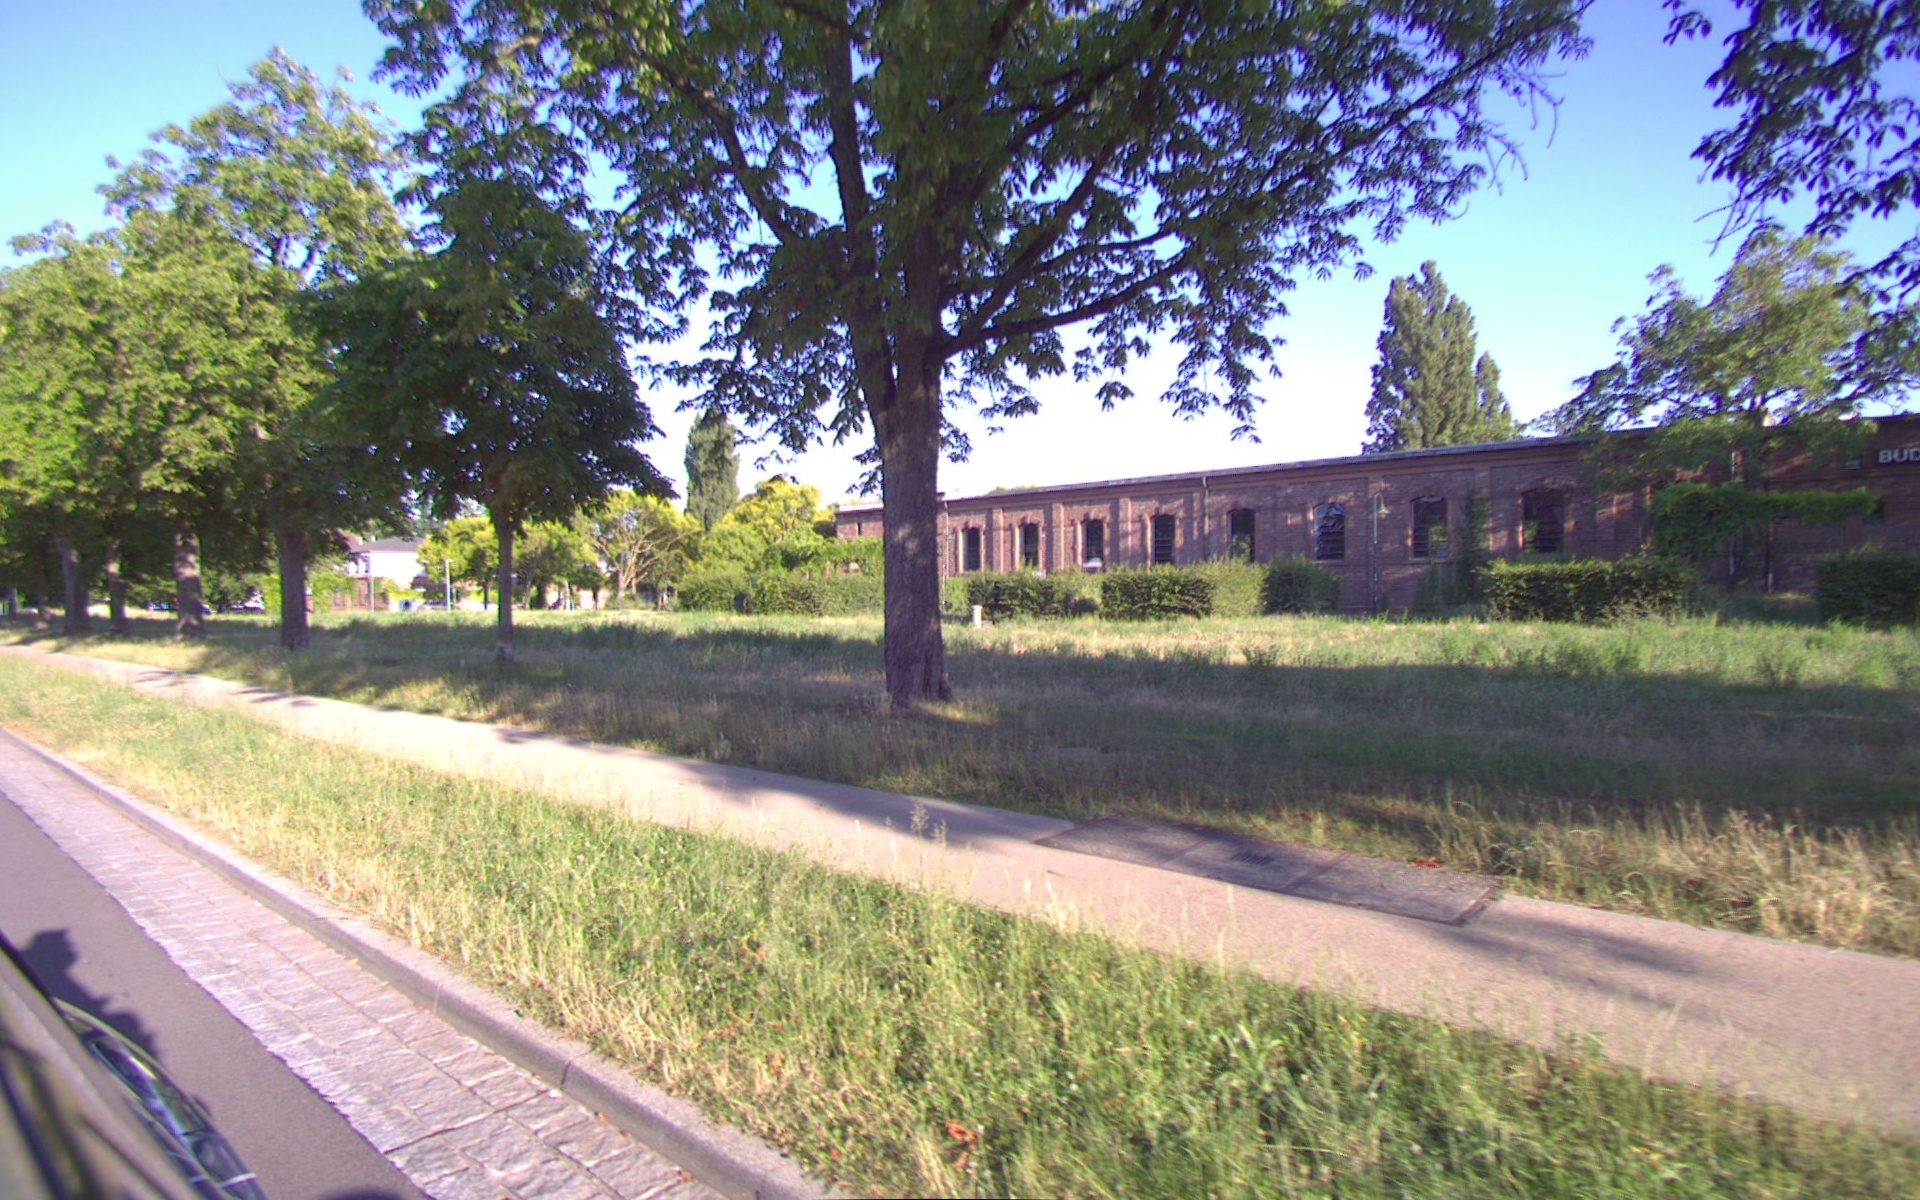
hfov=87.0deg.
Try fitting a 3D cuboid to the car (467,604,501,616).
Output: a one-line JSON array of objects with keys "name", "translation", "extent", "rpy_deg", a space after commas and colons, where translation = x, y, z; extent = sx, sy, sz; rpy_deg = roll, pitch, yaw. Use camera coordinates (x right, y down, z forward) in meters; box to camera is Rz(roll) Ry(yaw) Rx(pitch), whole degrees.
[{"name": "car", "translation": [-59.450, 1.263, 126.428], "extent": [1.586, 1.289, 3.589], "rpy_deg": [0, 1, 42]}]

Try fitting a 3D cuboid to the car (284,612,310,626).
[{"name": "car", "translation": [-84.392, 2.445, 128.741], "extent": [3.998, 1.641, 1.744], "rpy_deg": [-1, 1, 41]}]

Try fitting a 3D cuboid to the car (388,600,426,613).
[{"name": "car", "translation": [-64.699, 0.750, 118.412], "extent": [1.586, 1.289, 3.589], "rpy_deg": [0, 1, 42]}]
